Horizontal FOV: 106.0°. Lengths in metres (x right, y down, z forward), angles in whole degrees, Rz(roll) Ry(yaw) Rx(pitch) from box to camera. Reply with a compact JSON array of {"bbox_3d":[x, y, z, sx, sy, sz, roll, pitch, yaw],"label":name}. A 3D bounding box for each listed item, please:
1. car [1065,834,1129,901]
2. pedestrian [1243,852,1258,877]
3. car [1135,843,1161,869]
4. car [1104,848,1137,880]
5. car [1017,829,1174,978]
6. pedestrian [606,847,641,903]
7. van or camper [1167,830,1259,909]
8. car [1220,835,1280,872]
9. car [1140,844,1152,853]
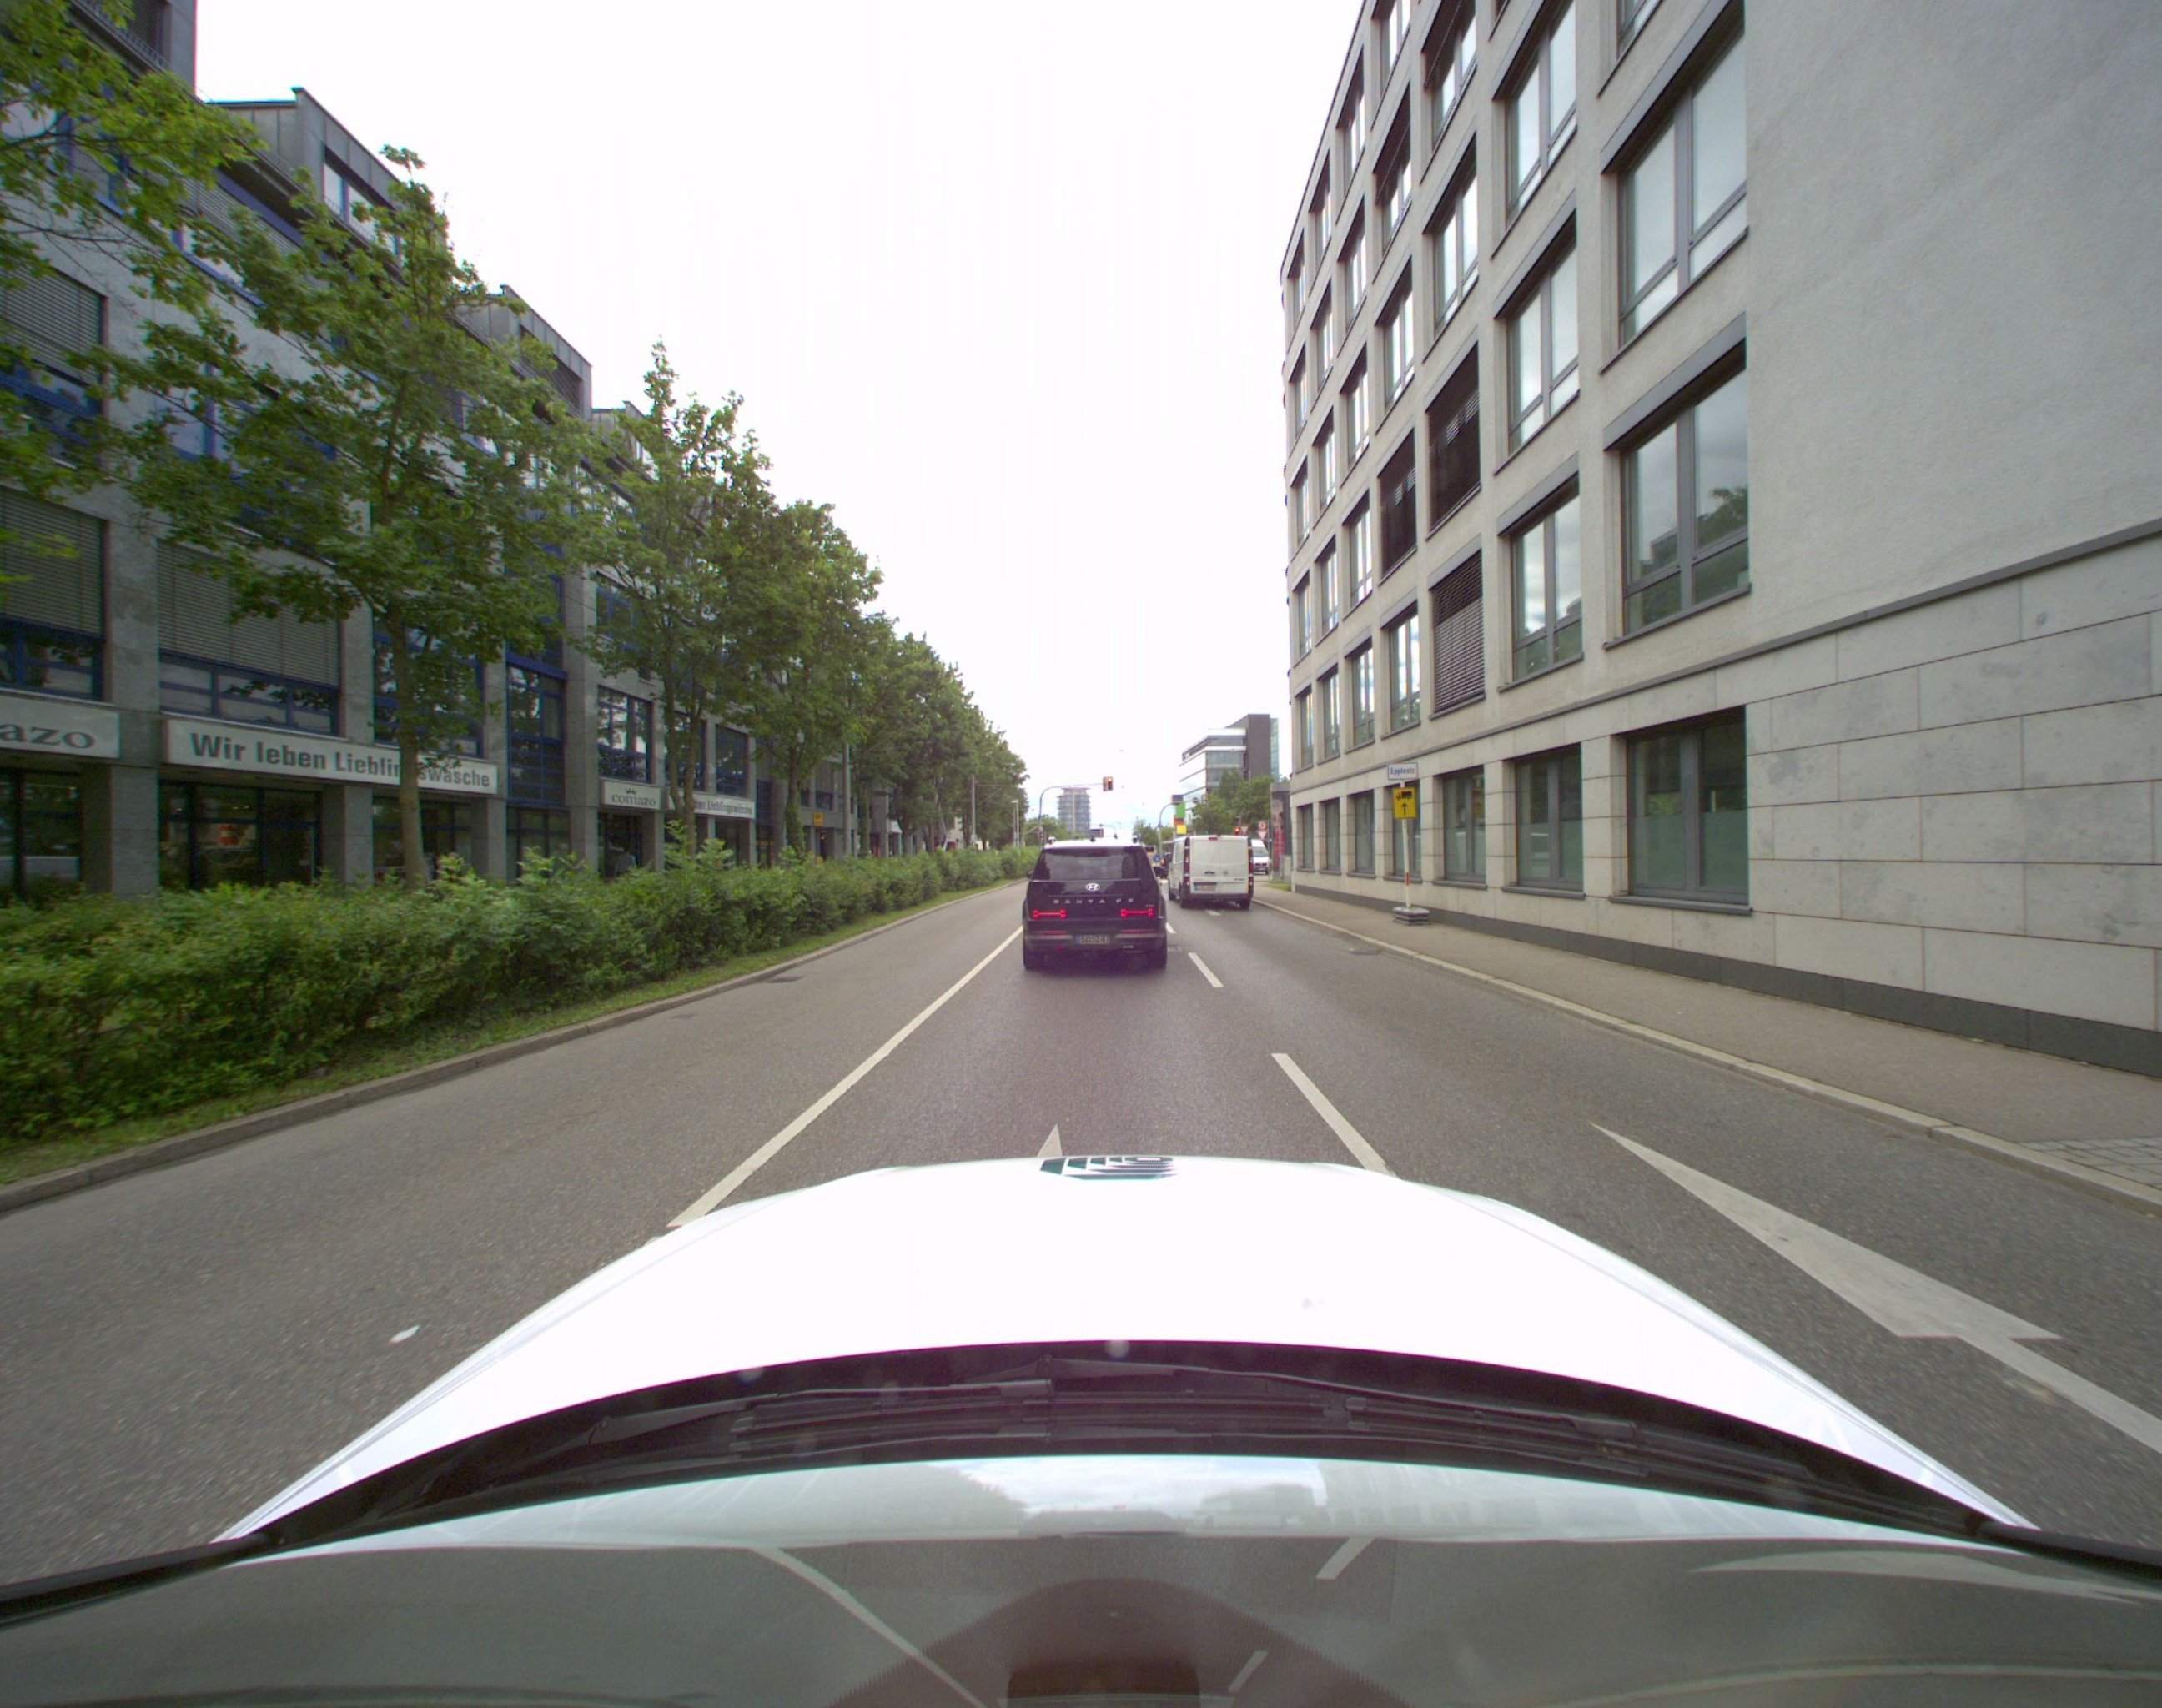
[{"bbox_3d":[0.555,0.421,26.757,1.908,2.003,3.881,-1,0,2],"label":"car"},{"bbox_3d":[10.890,0.670,52.236,0.744,1.584,0.567,1,0,-38],"label":"pedestrian"},{"bbox_3d":[5.456,0.150,66.420,1.985,2.014,4.003,0,-1,3],"label":"car"},{"bbox_3d":[2.243,0.572,45.950,1.768,1.717,4.342,0,-1,3],"label":"car"},{"bbox_3d":[0.238,0.593,11.752,1.862,1.760,3.881,-1,0,2],"label":"car"},{"bbox_3d":[-15.689,0.712,27.924,0.771,1.894,0.731,0,-1,1],"label":"pedestrian"},{"bbox_3d":[3.610,0.391,23.080,1.986,2.013,4.654,0,0,2],"label":"van or camper"},{"bbox_3d":[12.309,-0.023,59.911,2.298,2.573,5.816,0,-1,-11],"label":"car"},{"bbox_3d":[12.617,-1.031,157.708,1.987,1.684,3.998,0,-1,-1],"label":"car"}]
